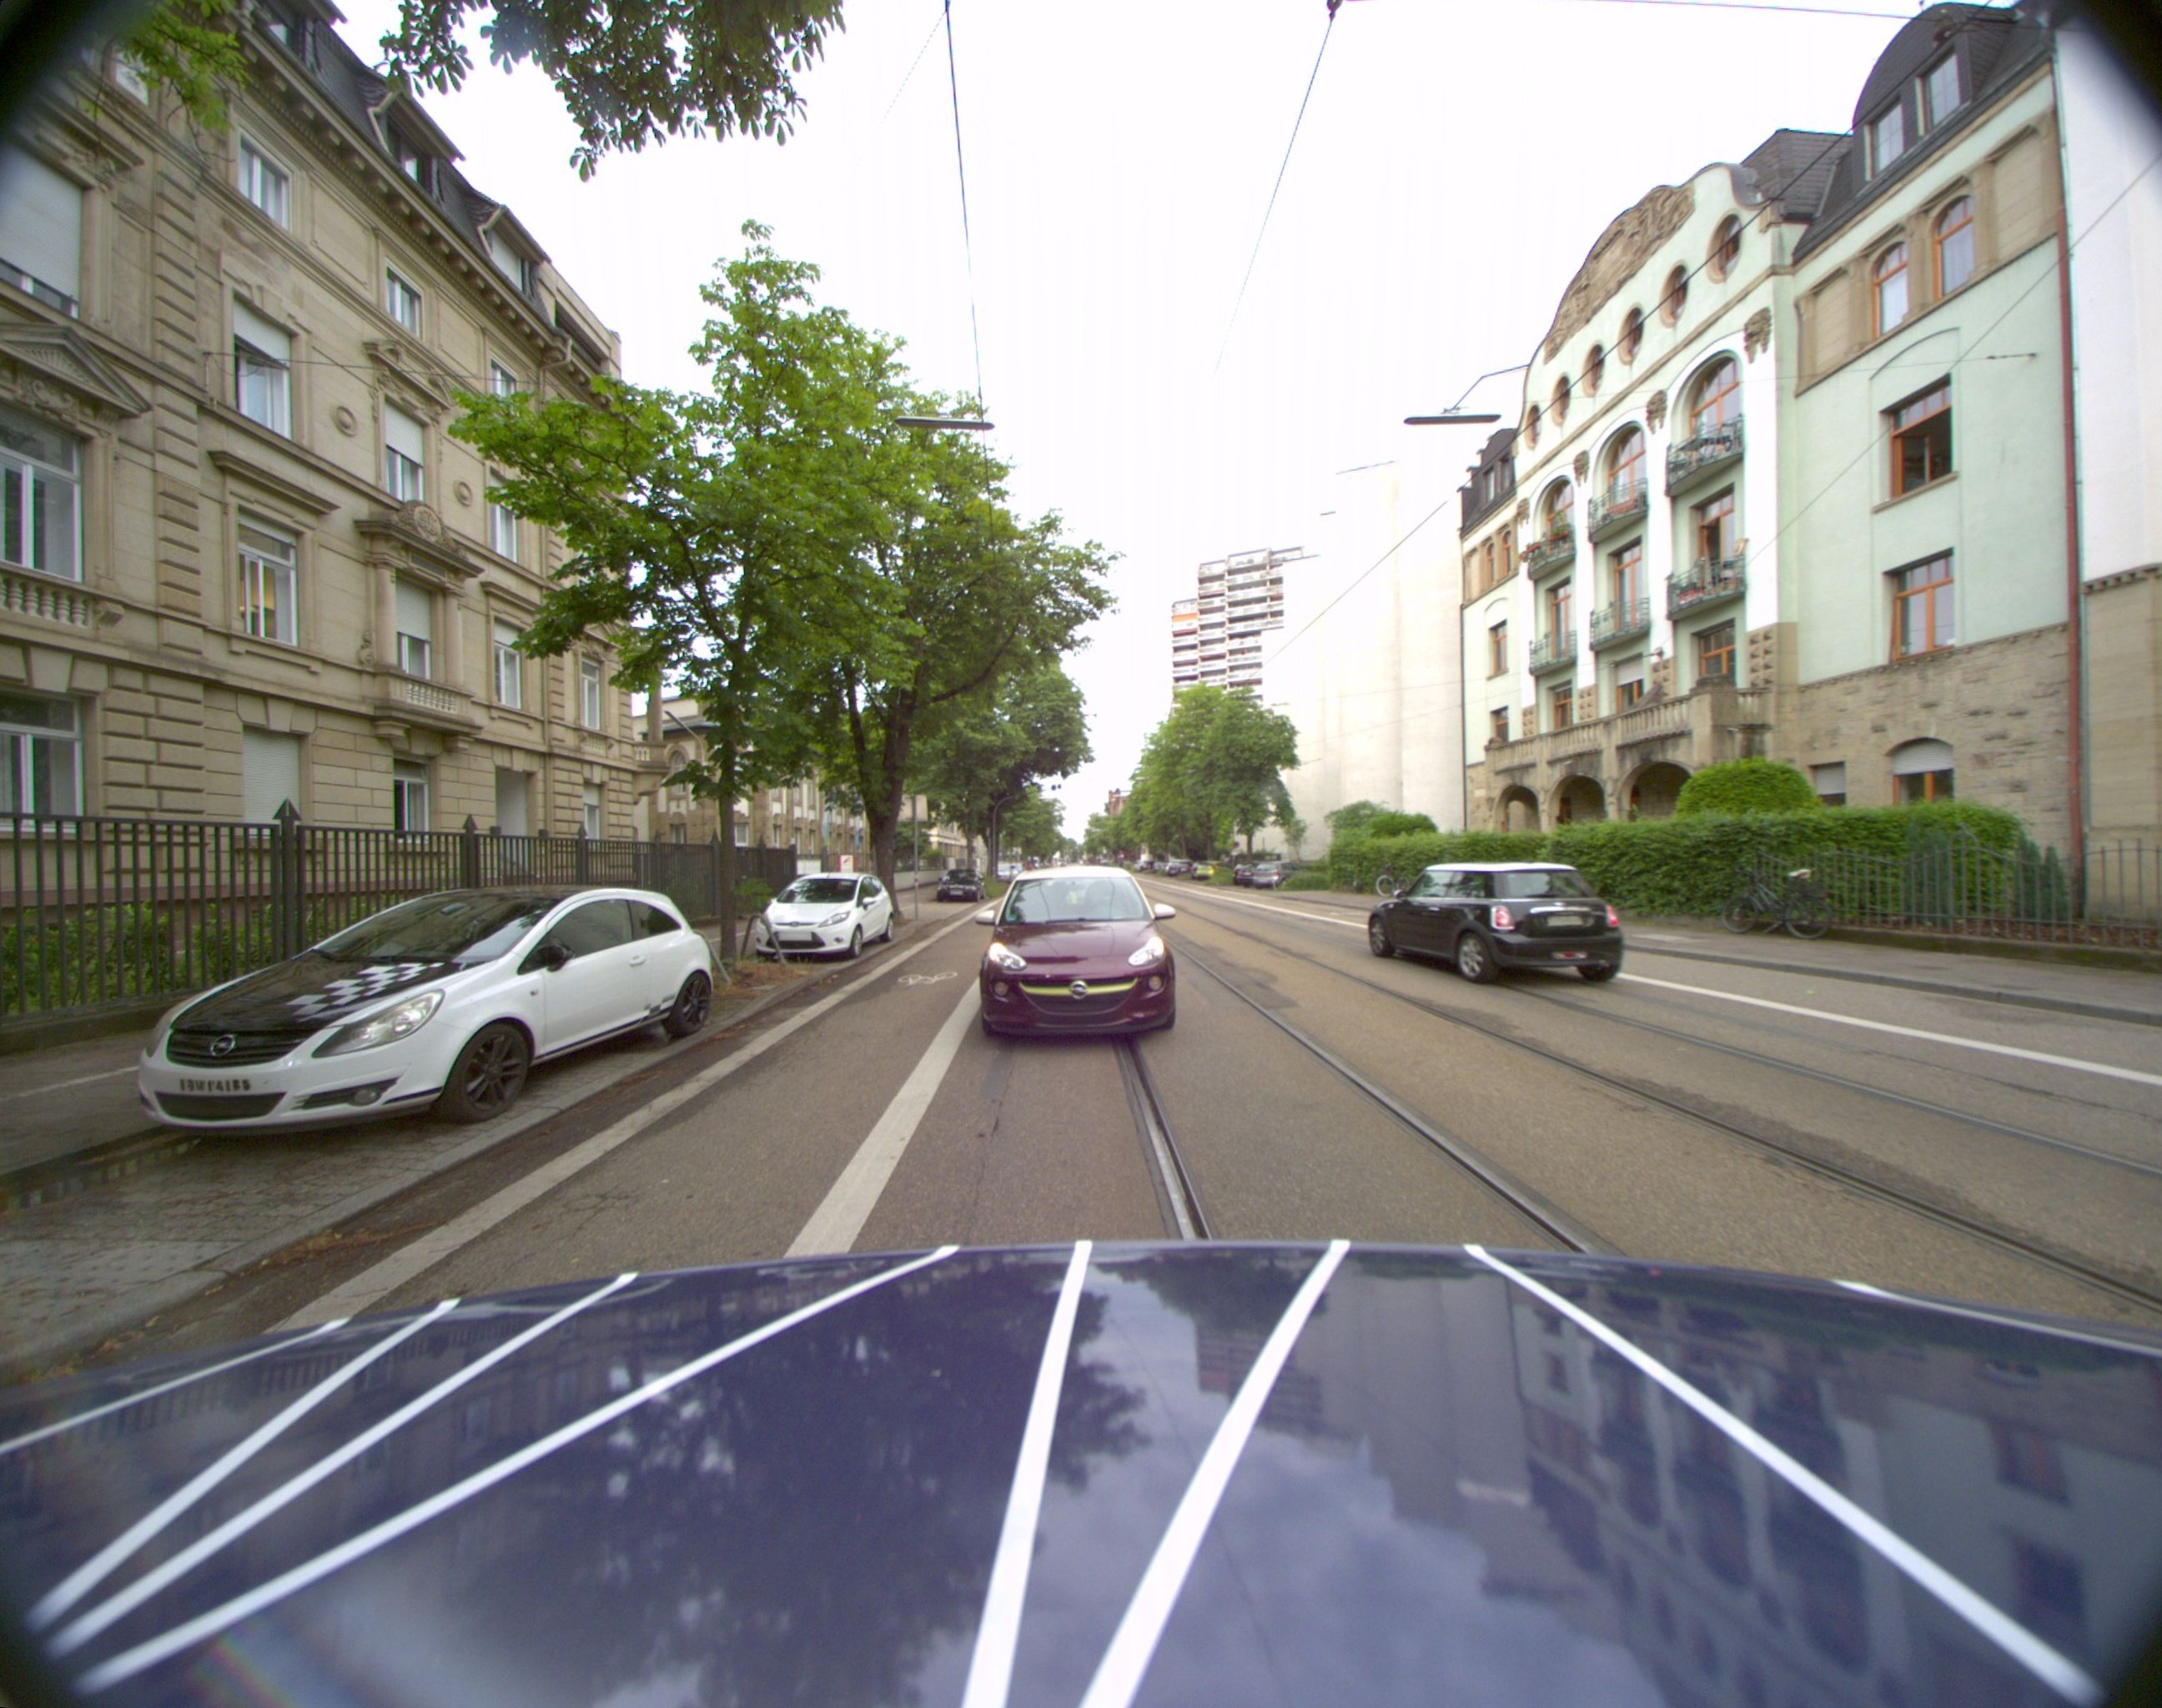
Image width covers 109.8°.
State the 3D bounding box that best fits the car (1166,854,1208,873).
[{"bbox_3d":[9.586,0.844,68.453,4.008,1.611,1.690,-1,0,-44],"label":"car"}]

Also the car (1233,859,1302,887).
[{"bbox_3d":[10.442,1.032,42.355,4.008,1.395,1.691,-1,0,-41],"label":"car"}]

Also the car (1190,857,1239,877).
[{"bbox_3d":[10.341,0.971,58.744,4.008,1.434,1.690,-1,0,-44],"label":"car"}]

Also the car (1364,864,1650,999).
[{"bbox_3d":[5.240,0.852,9.915,1.613,1.414,3.485,0,0,-4],"label":"car"}]

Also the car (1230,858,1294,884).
[{"bbox_3d":[10.863,0.990,45.530,4.008,1.395,1.691,-1,0,-41],"label":"car"}]

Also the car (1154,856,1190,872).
[{"bbox_3d":[9.793,1.052,81.875,4.008,1.611,1.690,-1,0,-44],"label":"car"}]

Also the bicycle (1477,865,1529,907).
[{"bbox_3d":[11.702,0.890,21.089,1.205,1.077,0.300,-3,0,1],"label":"bicycle"}]

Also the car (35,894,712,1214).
[{"bbox_3d":[-4.534,1.127,5.773,1.606,1.427,3.776,1,0,0],"label":"car"}]

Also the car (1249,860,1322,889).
[{"bbox_3d":[10.690,1.030,39.526,4.008,1.395,1.691,-1,0,-41],"label":"car"}]

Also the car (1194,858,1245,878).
[{"bbox_3d":[10.181,0.999,55.690,4.008,1.386,1.690,-1,0,-44],"label":"car"}]

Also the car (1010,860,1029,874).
[{"bbox_3d":[-6.064,1.275,74.890,1.606,1.362,3.836,1,0,-1],"label":"car"}]

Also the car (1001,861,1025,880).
[{"bbox_3d":[-5.566,1.348,62.470,1.606,1.416,3.836,1,0,-1],"label":"car"}]

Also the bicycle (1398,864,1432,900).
[{"bbox_3d":[10.698,0.878,24.364,0.360,1.077,1.546,-1,0,-1],"label":"bicycle"}]

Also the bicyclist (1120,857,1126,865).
[{"bbox_3d":[6.331,1.015,114.351,0.752,1.247,0.875,-1,0,-1],"label":"bicyclist"}]

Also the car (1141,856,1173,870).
[{"bbox_3d":[9.185,1.074,91.697,4.008,1.611,1.690,-1,0,-44],"label":"car"}]

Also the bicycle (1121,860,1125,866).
[{"bbox_3d":[6.311,1.373,114.248,0.568,0.784,1.890,-1,0,-2],"label":"bicycle"}]

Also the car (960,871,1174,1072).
[{"bbox_3d":[-0.110,0.959,7.804,1.606,1.427,3.776,-3,0,0],"label":"car"}]

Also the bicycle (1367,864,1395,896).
[{"bbox_3d":[10.668,0.916,27.086,0.360,1.077,1.546,-1,0,-1],"label":"bicycle"}]

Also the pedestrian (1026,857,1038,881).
[{"bbox_3d":[-3.136,0.956,48.580,0.684,1.541,0.704,-1,0,-1],"label":"pedestrian"}]

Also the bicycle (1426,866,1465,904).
[{"bbox_3d":[10.732,0.896,22.398,0.360,1.077,1.546,-1,0,-1],"label":"bicycle"}]

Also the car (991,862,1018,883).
[{"bbox_3d":[-5.536,1.316,55.127,1.606,1.362,3.836,1,0,-1],"label":"car"}]

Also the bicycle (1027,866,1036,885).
[{"bbox_3d":[-3.161,1.371,48.696,0.414,1.197,1.706,-1,0,-1],"label":"bicycle"}]

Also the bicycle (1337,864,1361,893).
[{"bbox_3d":[10.562,0.962,29.961,0.360,1.077,1.546,-1,0,-1],"label":"bicycle"}]

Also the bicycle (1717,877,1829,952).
[{"bbox_3d":[11.000,0.932,12.138,0.360,1.077,1.546,-1,0,-1],"label":"bicycle"}]

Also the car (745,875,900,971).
[{"bbox_3d":[-4.622,1.169,14.153,1.631,1.427,3.764,1,0,-1],"label":"car"}]

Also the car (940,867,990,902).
[{"bbox_3d":[-4.935,1.277,32.682,1.606,1.362,3.836,1,0,-1],"label":"car"}]
